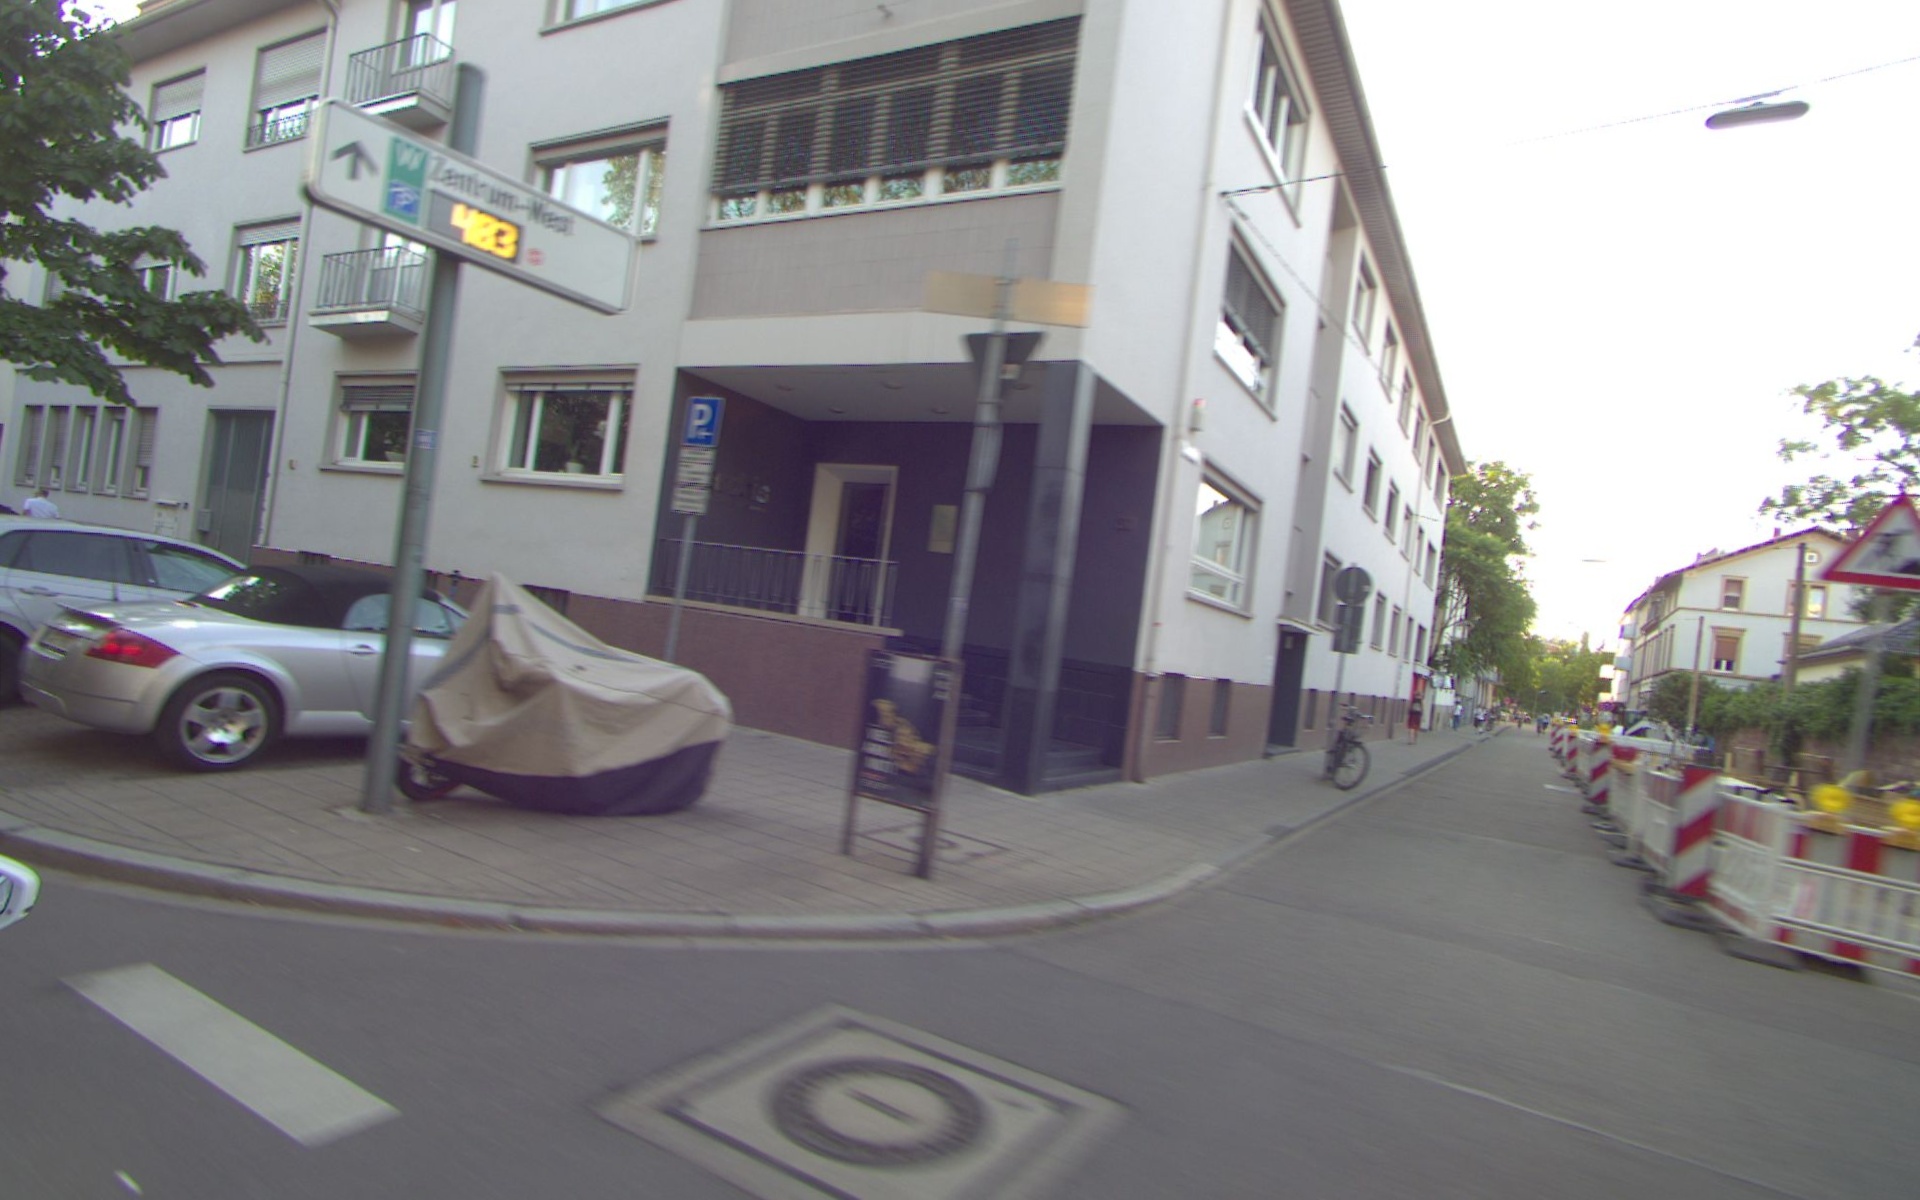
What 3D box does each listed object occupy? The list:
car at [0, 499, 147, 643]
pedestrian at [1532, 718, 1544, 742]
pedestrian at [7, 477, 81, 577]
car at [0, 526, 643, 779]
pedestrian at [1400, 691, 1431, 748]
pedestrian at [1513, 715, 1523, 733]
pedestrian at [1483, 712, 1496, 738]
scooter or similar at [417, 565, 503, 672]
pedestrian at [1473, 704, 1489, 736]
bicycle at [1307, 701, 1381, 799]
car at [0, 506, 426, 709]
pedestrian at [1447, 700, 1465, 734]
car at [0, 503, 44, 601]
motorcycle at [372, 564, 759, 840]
[{"bbox_3d":[-12.635,-0.546,11.942,1.928,1.636,4.118,7,-2,30],"label":"car"},{"bbox_3d":[43.226,9.715,75.238,0.639,1.673,0.649,7,-1,30],"label":"pedestrian"},{"bbox_3d":[-17.951,-1.431,19.725,0.866,1.816,0.698,7,0,31],"label":"pedestrian"},{"bbox_3d":[-4.737,0.461,7.882,1.765,1.348,3.993,7,-2,33],"label":"car"},{"bbox_3d":[14.179,3.727,31.320,0.639,1.673,0.649,7,-1,30],"label":"pedestrian"},{"bbox_3d":[54.959,12.207,99.082,0.639,1.673,0.649,7,-1,30],"label":"pedestrian"},{"bbox_3d":[35.926,8.455,68.253,0.639,1.673,0.649,7,-1,30],"label":"pedestrian"},{"bbox_3d":[-6.576,0.224,13.201,1.400,1.253,0.345,7,-1,40],"label":"scooter or similar"},{"bbox_3d":[29.183,6.711,56.342,0.639,1.673,0.649,7,-1,30],"label":"pedestrian"},{"bbox_3d":[5.813,2.238,15.314,0.523,1.253,1.797,7,-1,8],"label":"bicycle"},{"bbox_3d":[-7.139,0.084,8.730,1.764,1.454,3.996,7,-2,30],"label":"car"},{"bbox_3d":[26.396,6.224,53.520,0.639,1.673,0.649,7,-1,30],"label":"pedestrian"},{"bbox_3d":[-16.886,-0.987,15.037,1.763,1.514,4.323,7,-1,29],"label":"car"},{"bbox_3d":[-2.411,0.624,6.324,0.986,1.409,1.904,6,-1,43],"label":"motorcycle"}]
